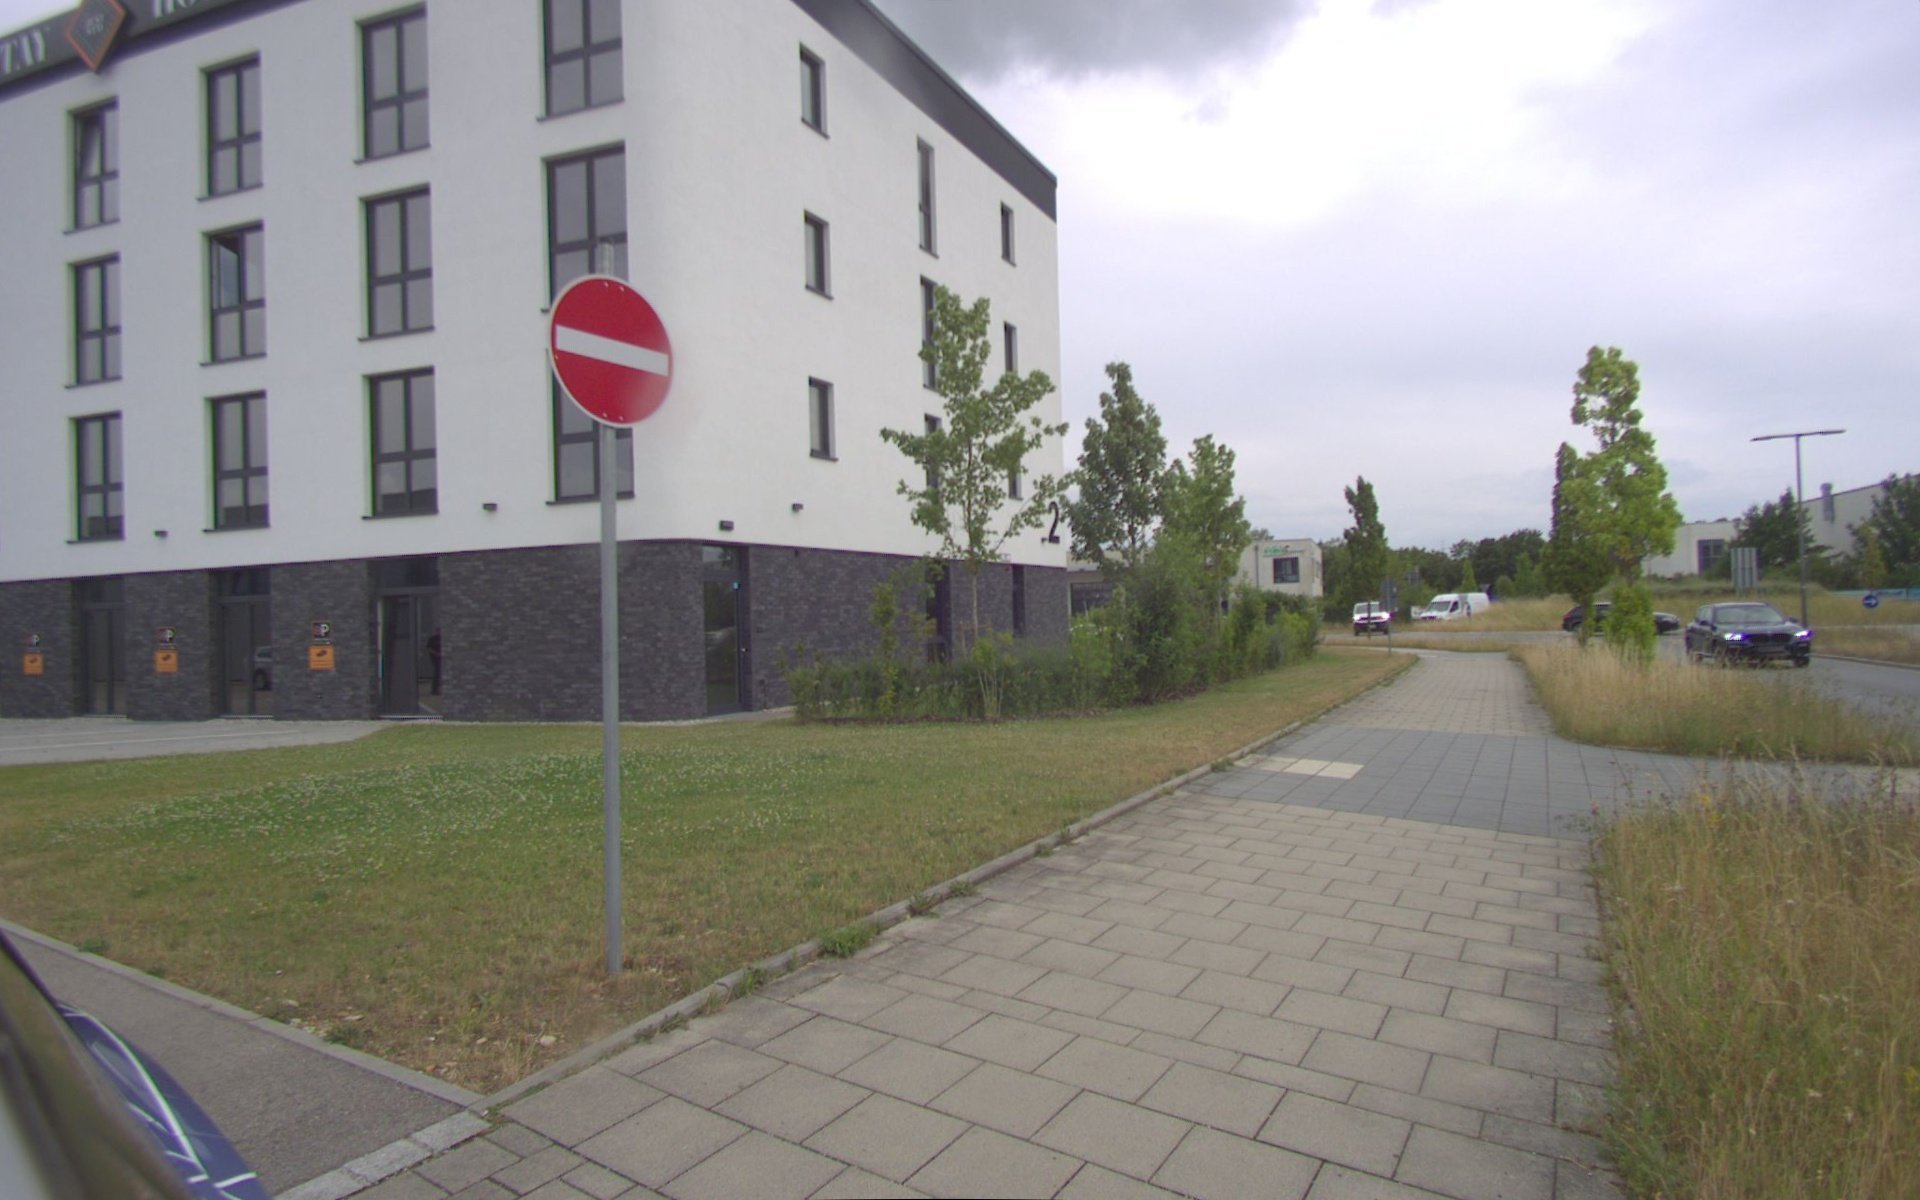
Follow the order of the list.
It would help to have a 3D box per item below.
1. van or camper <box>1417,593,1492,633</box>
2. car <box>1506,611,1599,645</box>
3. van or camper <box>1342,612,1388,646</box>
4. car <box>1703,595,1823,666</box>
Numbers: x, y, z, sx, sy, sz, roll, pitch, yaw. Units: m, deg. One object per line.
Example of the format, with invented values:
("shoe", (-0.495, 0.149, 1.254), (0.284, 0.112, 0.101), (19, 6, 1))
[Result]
("van or camper", (34.678, 0.908, 70.959), (5.373, 2.601, 2.006), (-1, -1, -30))
("car", (26.015, 1.235, 44.479), (3.290, 1.364, 1.540), (-3, -2, 39))
("van or camper", (23.705, 1.688, 59.392), (1.966, 1.905, 4.815), (-2, -2, 17))
("car", (20.524, 0.754, 26.031), (1.888, 1.652, 3.957), (-3, -1, 32))
